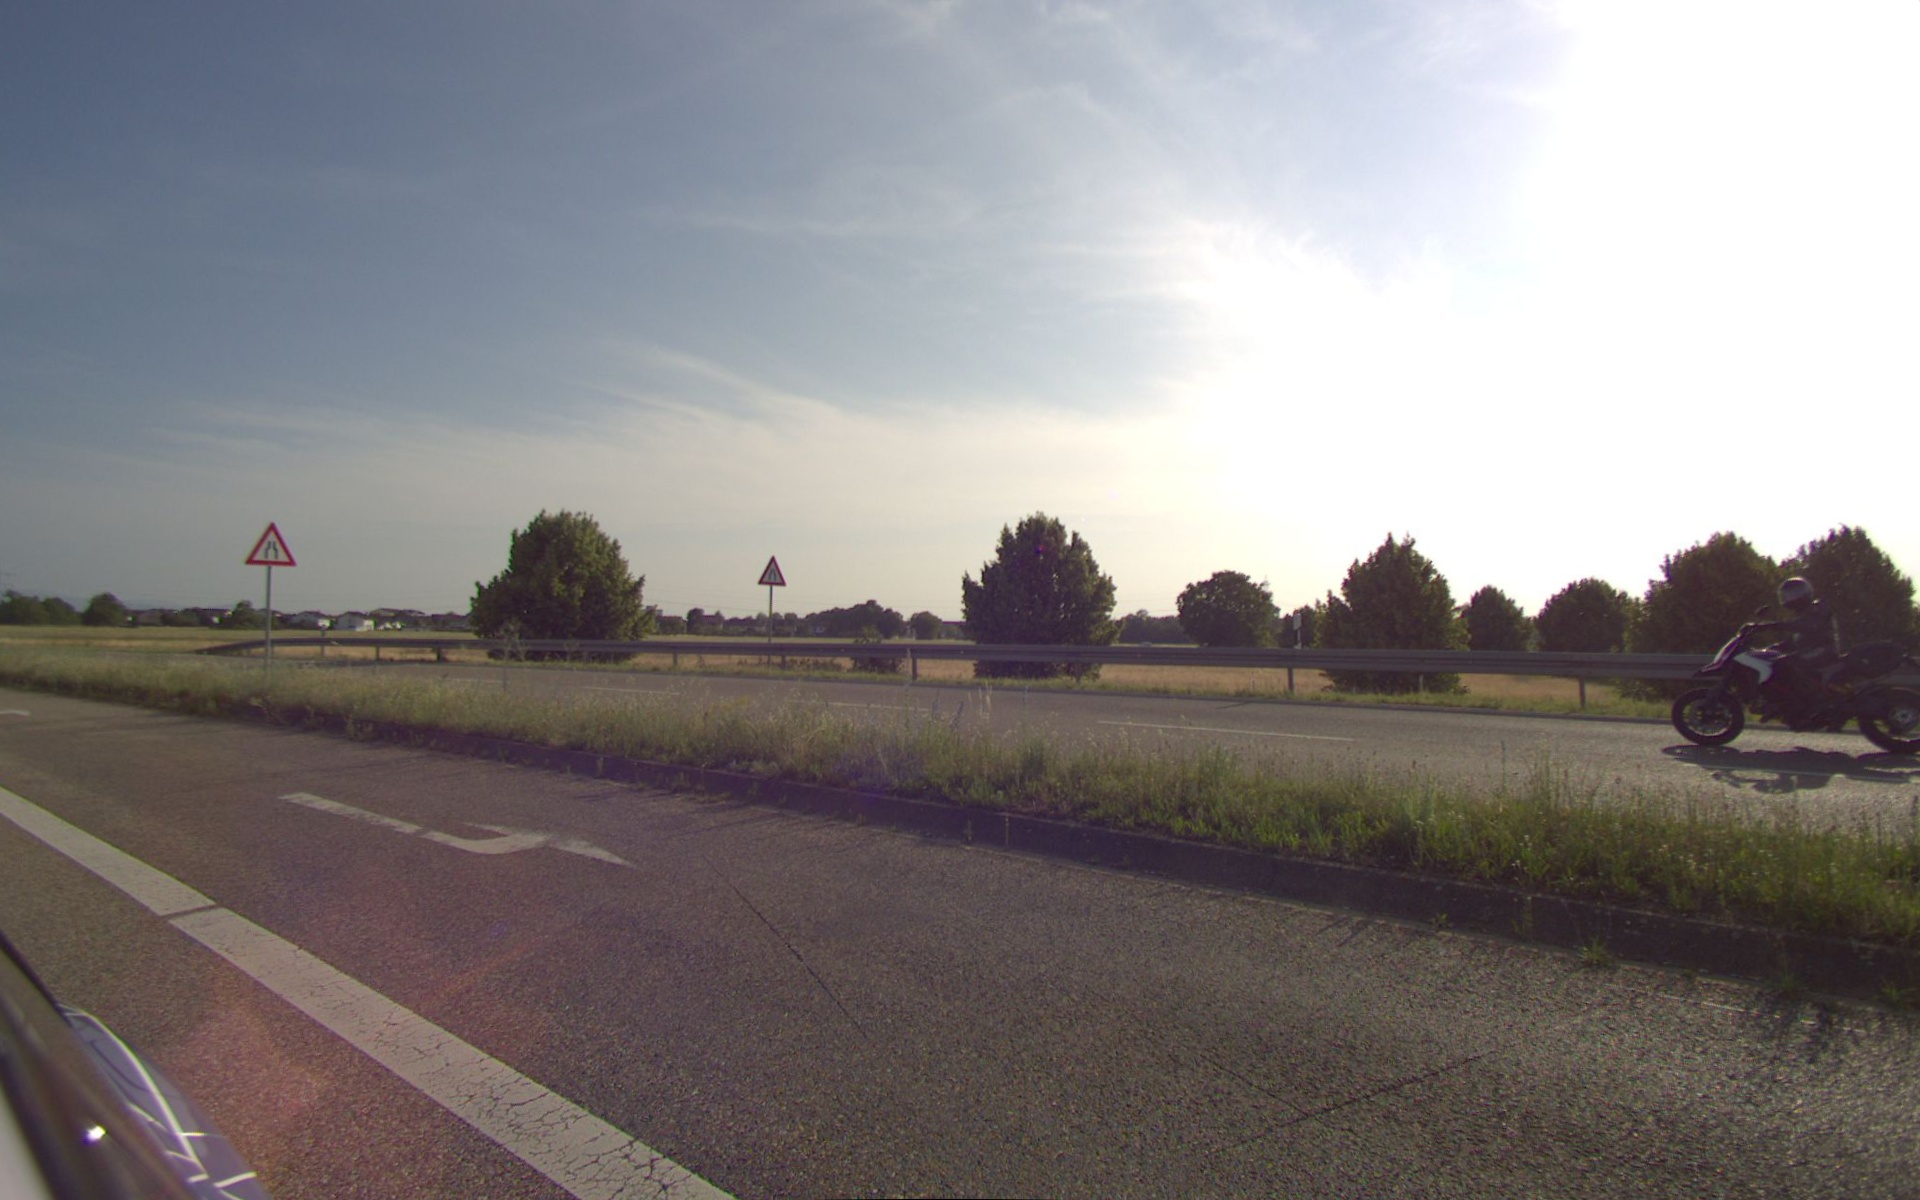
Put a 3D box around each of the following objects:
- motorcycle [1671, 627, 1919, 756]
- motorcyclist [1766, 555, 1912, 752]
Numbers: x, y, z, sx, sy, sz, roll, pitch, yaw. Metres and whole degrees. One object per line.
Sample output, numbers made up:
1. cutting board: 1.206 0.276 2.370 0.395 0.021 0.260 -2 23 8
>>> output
1. motorcycle: 8.301 0.850 9.813 2.160 1.133 0.932 -1 -1 28
2. motorcyclist: 8.379 0.487 9.698 0.828 1.771 0.898 -1 -1 28
